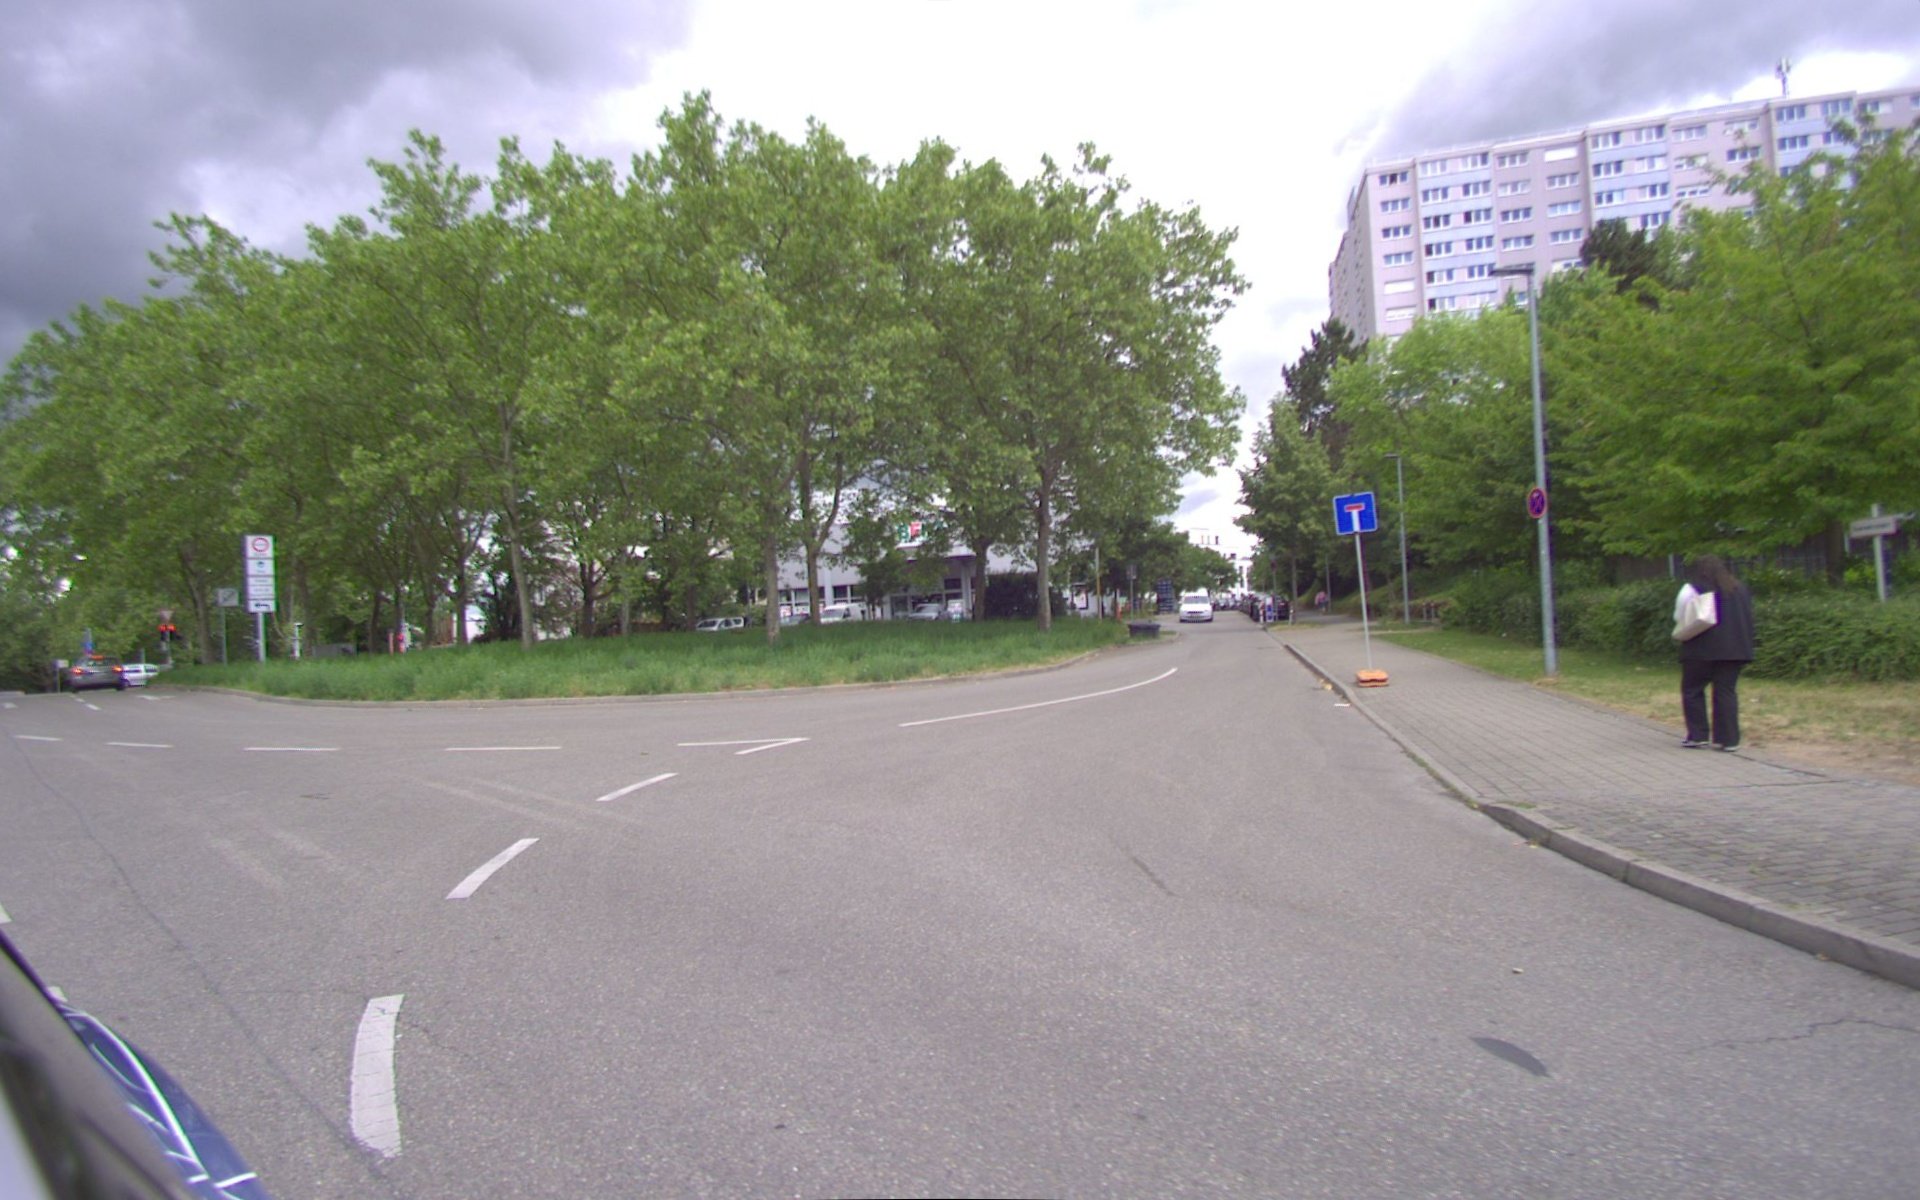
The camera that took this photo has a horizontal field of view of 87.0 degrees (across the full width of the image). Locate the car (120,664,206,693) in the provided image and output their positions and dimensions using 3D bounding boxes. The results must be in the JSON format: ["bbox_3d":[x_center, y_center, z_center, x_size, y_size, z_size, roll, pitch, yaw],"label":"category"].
[{"bbox_3d":[-46.599,4.558,59.207,3.861,1.443,1.611,-1,-1,-42],"label":"car"}]

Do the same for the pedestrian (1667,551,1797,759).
[{"bbox_3d":[6.376,0.449,8.378,0.719,1.623,0.626,-5,-3,38],"label":"pedestrian"}]

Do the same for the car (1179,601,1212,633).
[{"bbox_3d":[13.961,0.995,59.978,1.764,1.785,3.982,-2,-1,14],"label":"car"}]

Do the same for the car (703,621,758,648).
[{"bbox_3d":[-13.752,2.038,60.917,1.638,1.475,3.982,-2,-1,14],"label":"car"}]

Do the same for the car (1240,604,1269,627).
[{"bbox_3d":[20.545,1.056,70.655,1.764,1.498,3.658,-2,-1,14],"label":"car"}]

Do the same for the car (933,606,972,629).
[{"bbox_3d":[-0.490,1.159,67.521,1.638,1.475,3.982,-2,-1,14],"label":"car"}]

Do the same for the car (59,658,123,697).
[{"bbox_3d":[-38.040,3.349,44.264,4.001,1.527,1.735,-2,-1,44],"label":"car"}]

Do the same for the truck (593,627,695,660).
[{"bbox_3d":[-24.548,3.340,78.915,7.409,2.230,2.085,-1,-1,-42],"label":"truck"}]

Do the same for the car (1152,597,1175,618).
[{"bbox_3d":[17.710,0.660,87.797,1.764,1.785,3.982,-2,-1,14],"label":"car"}]

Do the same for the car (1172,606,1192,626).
[{"bbox_3d":[21.273,1.496,96.916,1.764,1.785,3.982,-2,-1,14],"label":"car"}]

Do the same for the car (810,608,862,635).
[{"bbox_3d":[-7.121,1.229,58.448,1.638,1.475,3.982,-2,-1,14],"label":"car"}]

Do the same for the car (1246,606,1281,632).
[{"bbox_3d":[18.267,1.132,60.948,1.764,1.498,3.658,-2,-1,14],"label":"car"}]

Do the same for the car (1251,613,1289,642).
[{"bbox_3d":[17.027,1.480,55.708,1.764,1.498,3.658,-2,-1,14],"label":"car"}]

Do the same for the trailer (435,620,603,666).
[{"bbox_3d":[-31.459,2.987,72.756,10.918,2.827,2.085,-1,-1,-42],"label":"trailer"}]
